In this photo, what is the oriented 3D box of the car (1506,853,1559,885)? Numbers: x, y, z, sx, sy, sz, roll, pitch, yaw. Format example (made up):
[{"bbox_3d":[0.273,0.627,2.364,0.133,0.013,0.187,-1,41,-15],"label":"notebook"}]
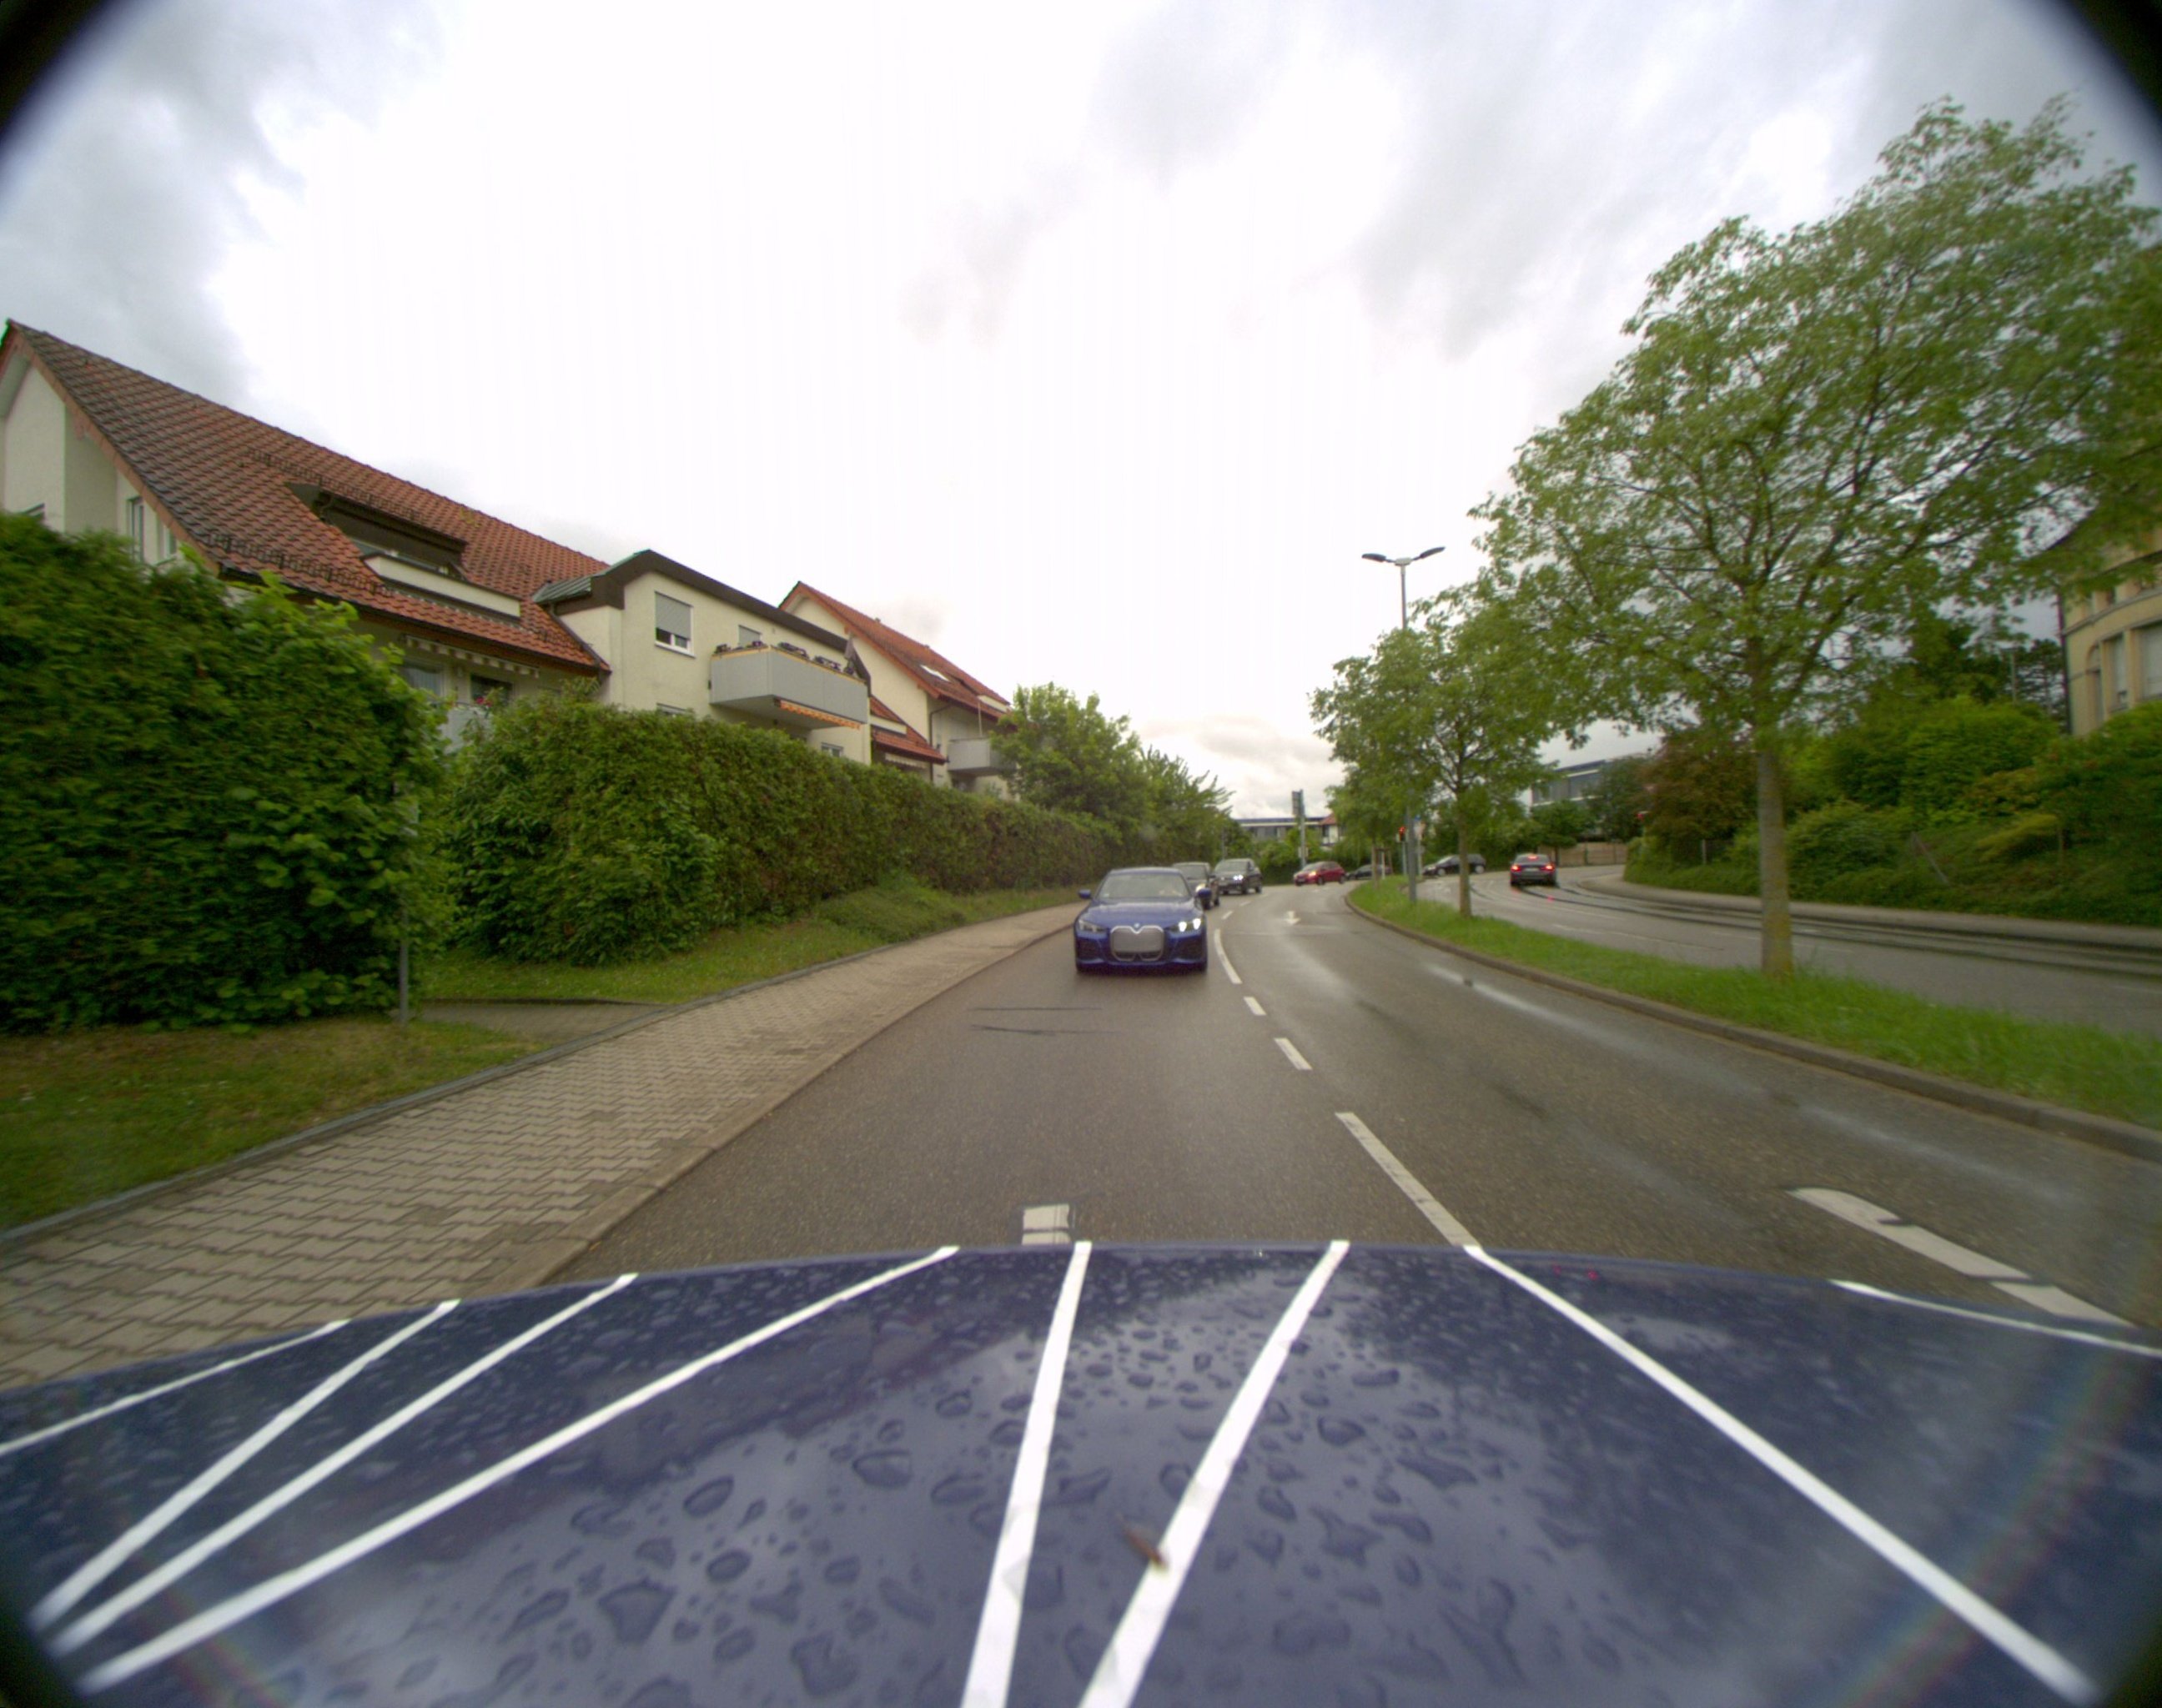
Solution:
[{"bbox_3d":[21.476,0.695,36.089,1.994,1.429,4.558,-1,-1,33],"label":"car"}]

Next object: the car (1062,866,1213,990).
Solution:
[{"bbox_3d":[1.039,1.005,11.963,1.912,1.487,4.351,-1,0,8],"label":"car"}]

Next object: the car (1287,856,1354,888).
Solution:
[{"bbox_3d":[15.235,1.138,48.317,4.007,1.715,1.866,-2,-4,-33],"label":"car"}]

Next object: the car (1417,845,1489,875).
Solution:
[{"bbox_3d":[25.854,0.453,52.898,3.996,1.715,1.870,-4,-3,3],"label":"car"}]

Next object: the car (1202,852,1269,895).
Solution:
[{"bbox_3d":[7.270,0.917,35.460,1.964,1.738,4.316,-5,-4,25],"label":"car"}]

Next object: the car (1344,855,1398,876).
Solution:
[{"bbox_3d":[25.301,1.027,66.300,3.989,1.660,2.004,-2,0,35],"label":"car"}]

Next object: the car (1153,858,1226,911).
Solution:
[{"bbox_3d":[3.692,1.034,25.249,1.744,1.509,4.006,-5,-3,16],"label":"car"}]
